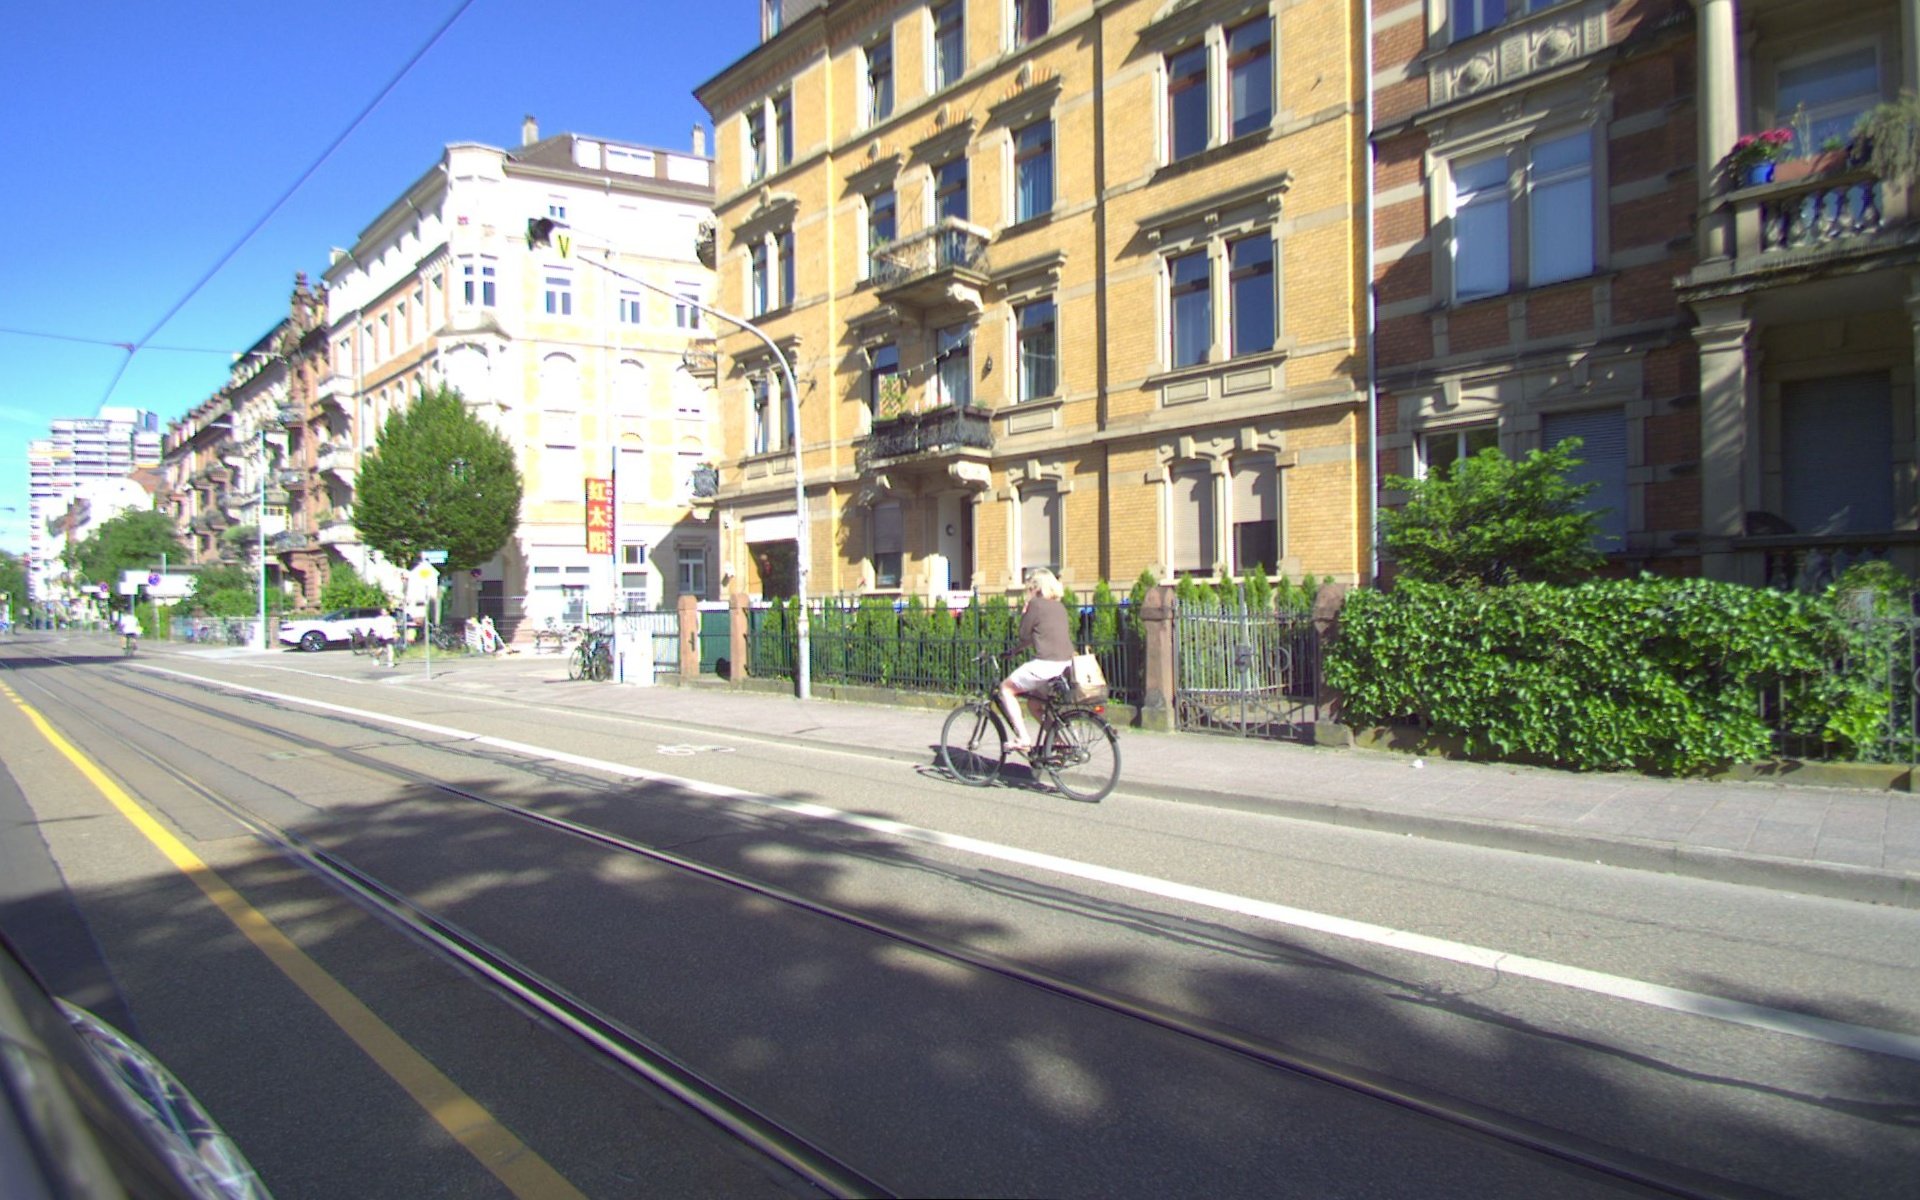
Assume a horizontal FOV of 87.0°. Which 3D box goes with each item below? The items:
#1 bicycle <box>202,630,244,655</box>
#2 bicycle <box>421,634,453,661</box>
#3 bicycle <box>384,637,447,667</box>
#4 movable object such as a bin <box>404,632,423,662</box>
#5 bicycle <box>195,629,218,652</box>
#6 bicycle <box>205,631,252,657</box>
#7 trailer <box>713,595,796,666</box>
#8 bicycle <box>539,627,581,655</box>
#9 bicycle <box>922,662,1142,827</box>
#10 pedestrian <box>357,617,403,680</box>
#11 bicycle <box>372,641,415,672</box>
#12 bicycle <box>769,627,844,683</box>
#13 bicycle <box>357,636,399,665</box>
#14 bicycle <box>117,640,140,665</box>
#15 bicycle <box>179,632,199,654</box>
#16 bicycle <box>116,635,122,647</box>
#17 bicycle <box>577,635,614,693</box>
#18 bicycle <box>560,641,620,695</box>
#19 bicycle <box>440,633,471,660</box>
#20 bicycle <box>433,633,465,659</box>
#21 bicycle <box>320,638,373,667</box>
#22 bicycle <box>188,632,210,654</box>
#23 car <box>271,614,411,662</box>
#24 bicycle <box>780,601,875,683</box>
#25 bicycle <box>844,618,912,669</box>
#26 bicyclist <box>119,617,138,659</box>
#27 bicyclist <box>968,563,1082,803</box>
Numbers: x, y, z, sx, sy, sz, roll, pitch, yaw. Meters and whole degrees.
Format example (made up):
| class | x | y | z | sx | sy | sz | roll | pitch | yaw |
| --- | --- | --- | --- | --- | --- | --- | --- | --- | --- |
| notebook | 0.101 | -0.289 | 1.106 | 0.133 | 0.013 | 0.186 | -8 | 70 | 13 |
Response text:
| class | x | y | z | sx | sy | sz | roll | pitch | yaw |
| --- | --- | --- | --- | --- | --- | --- | --- | --- | --- |
| bicycle | -33.310 | 1.930 | 45.737 | 1.754 | 1.041 | 0.561 | -3 | 2 | 20 |
| bicycle | -19.022 | 1.712 | 36.827 | 0.611 | 0.921 | 1.297 | 0 | 0 | -8 |
| bicycle | -18.921 | 1.802 | 35.172 | 1.965 | 0.983 | 0.579 | -1 | 0 | 10 |
| movable object such as a bin | -20.462 | 1.746 | 37.899 | 0.568 | 1.079 | 0.718 | -2 | 0 | -32 |
| bicycle | -36.107 | 1.933 | 48.491 | 1.768 | 1.041 | 0.557 | -2 | 0 | 44 |
| bicycle | -32.020 | 1.936 | 44.321 | 1.747 | 1.041 | 0.563 | -3 | -1 | 8 |
| trailer | -8.123 | 1.203 | 39.994 | 2.878 | 2.716 | 1.834 | 1 | -1 | -23 |
| bicycle | -16.592 | 1.700 | 42.015 | 1.576 | 1.045 | 0.407 | -2 | -2 | -21 |
| bicycle | 0.529 | 1.082 | 8.057 | 1.719 | 1.121 | 0.684 | -2 | -3 | 44 |
| pedestrian | -16.739 | 1.371 | 29.206 | 1.082 | 1.736 | 0.820 | -1 | 1 | 42 |
| bicycle | -18.854 | 1.867 | 33.699 | 0.614 | 0.921 | 1.291 | 0 | 0 | 8 |
| bicycle | -2.976 | 1.045 | 19.716 | 0.389 | 0.982 | 1.519 | -2 | 0 | 42 |
| bicycle | -20.518 | 1.775 | 35.692 | 0.614 | 0.921 | 1.291 | 0 | 0 | 8 |
| bicycle | -32.815 | 2.070 | 39.925 | 2.203 | 0.933 | 0.455 | -2 | -3 | 44 |
| bicycle | -40.107 | 2.241 | 52.617 | 1.768 | 1.041 | 0.557 | -3 | -1 | 45 |
| bicycle | -67.906 | 3.277 | 81.712 | 0.337 | 0.933 | 1.945 | -2 | 0 | -41 |
| bicycle | -7.327 | 1.272 | 20.339 | 0.809 | 1.135 | 0.366 | -2 | 0 | 44 |
| bicycle | -7.385 | 1.341 | 20.157 | 1.870 | 1.008 | 0.331 | -2 | 0 | 45 |
| bicycle | -19.217 | 1.760 | 38.589 | 0.244 | 0.921 | 1.539 | 0 | 0 | 8 |
| bicycle | -19.491 | 1.747 | 38.626 | 0.244 | 0.921 | 1.539 | 0 | 0 | 8 |
| bicycle | -21.639 | 1.835 | 35.741 | 0.614 | 0.921 | 1.784 | 0 | 0 | 8 |
| bicycle | -37.421 | 2.109 | 49.782 | 1.768 | 1.041 | 0.557 | -2 | 0 | 44 |
| car | -24.346 | 1.450 | 39.886 | 4.393 | 1.656 | 1.968 | -2 | 1 | -43 |
| bicycle | -2.312 | 0.717 | 17.813 | 0.612 | 1.330 | 1.747 | -2 | 0 | 35 |
| bicycle | -1.698 | 0.894 | 21.101 | 0.389 | 0.982 | 1.519 | -2 | 0 | 42 |
| bicyclist | -32.906 | 1.494 | 40.043 | 0.744 | 1.631 | 0.459 | -2 | -3 | 44 |
| bicyclist | 0.522 | 0.638 | 8.093 | 0.616 | 1.815 | 0.653 | -1 | -3 | 44 |
